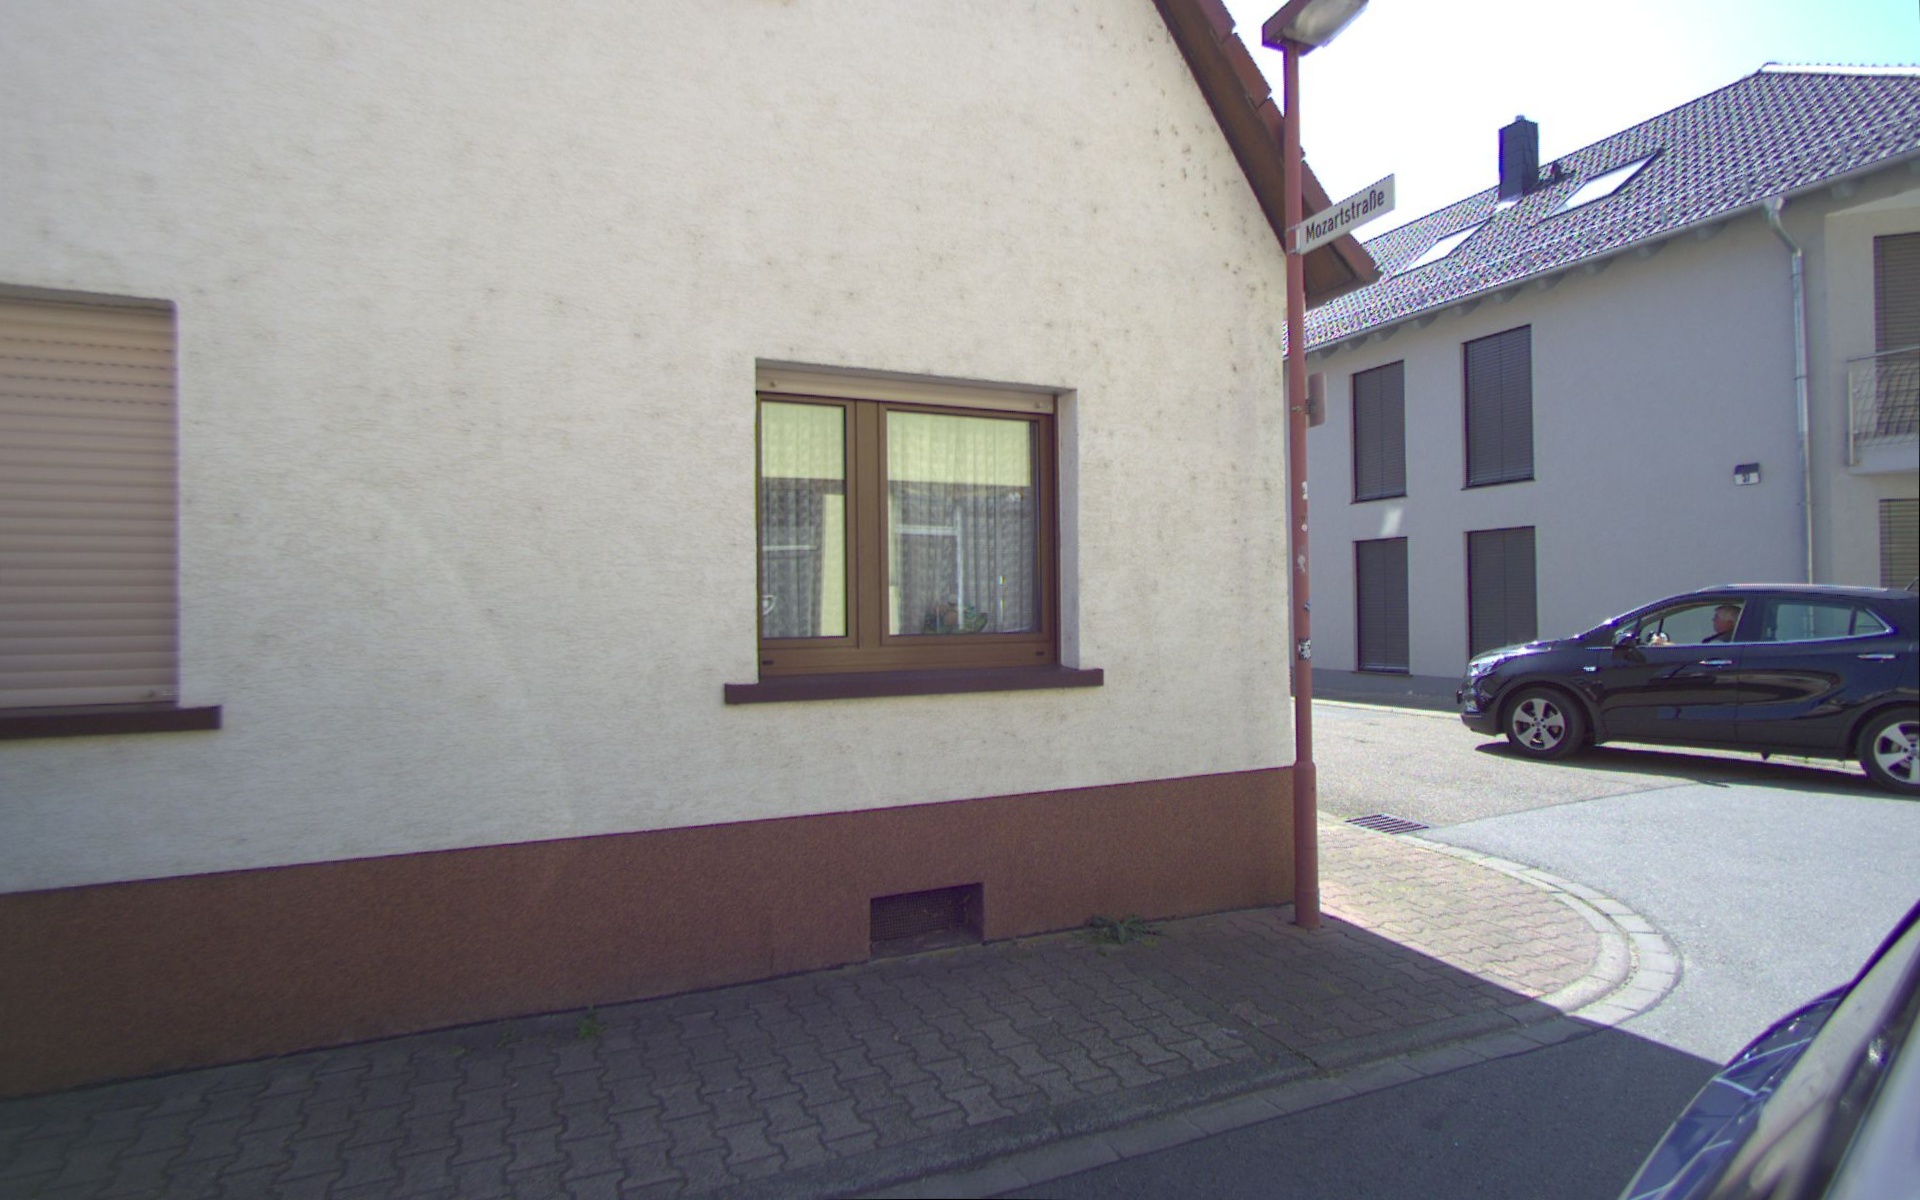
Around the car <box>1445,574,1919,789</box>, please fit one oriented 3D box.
[{"bbox_3d":[6.889,0.632,9.092,4.267,1.603,1.734,0,-2,44],"label":"car"}]
